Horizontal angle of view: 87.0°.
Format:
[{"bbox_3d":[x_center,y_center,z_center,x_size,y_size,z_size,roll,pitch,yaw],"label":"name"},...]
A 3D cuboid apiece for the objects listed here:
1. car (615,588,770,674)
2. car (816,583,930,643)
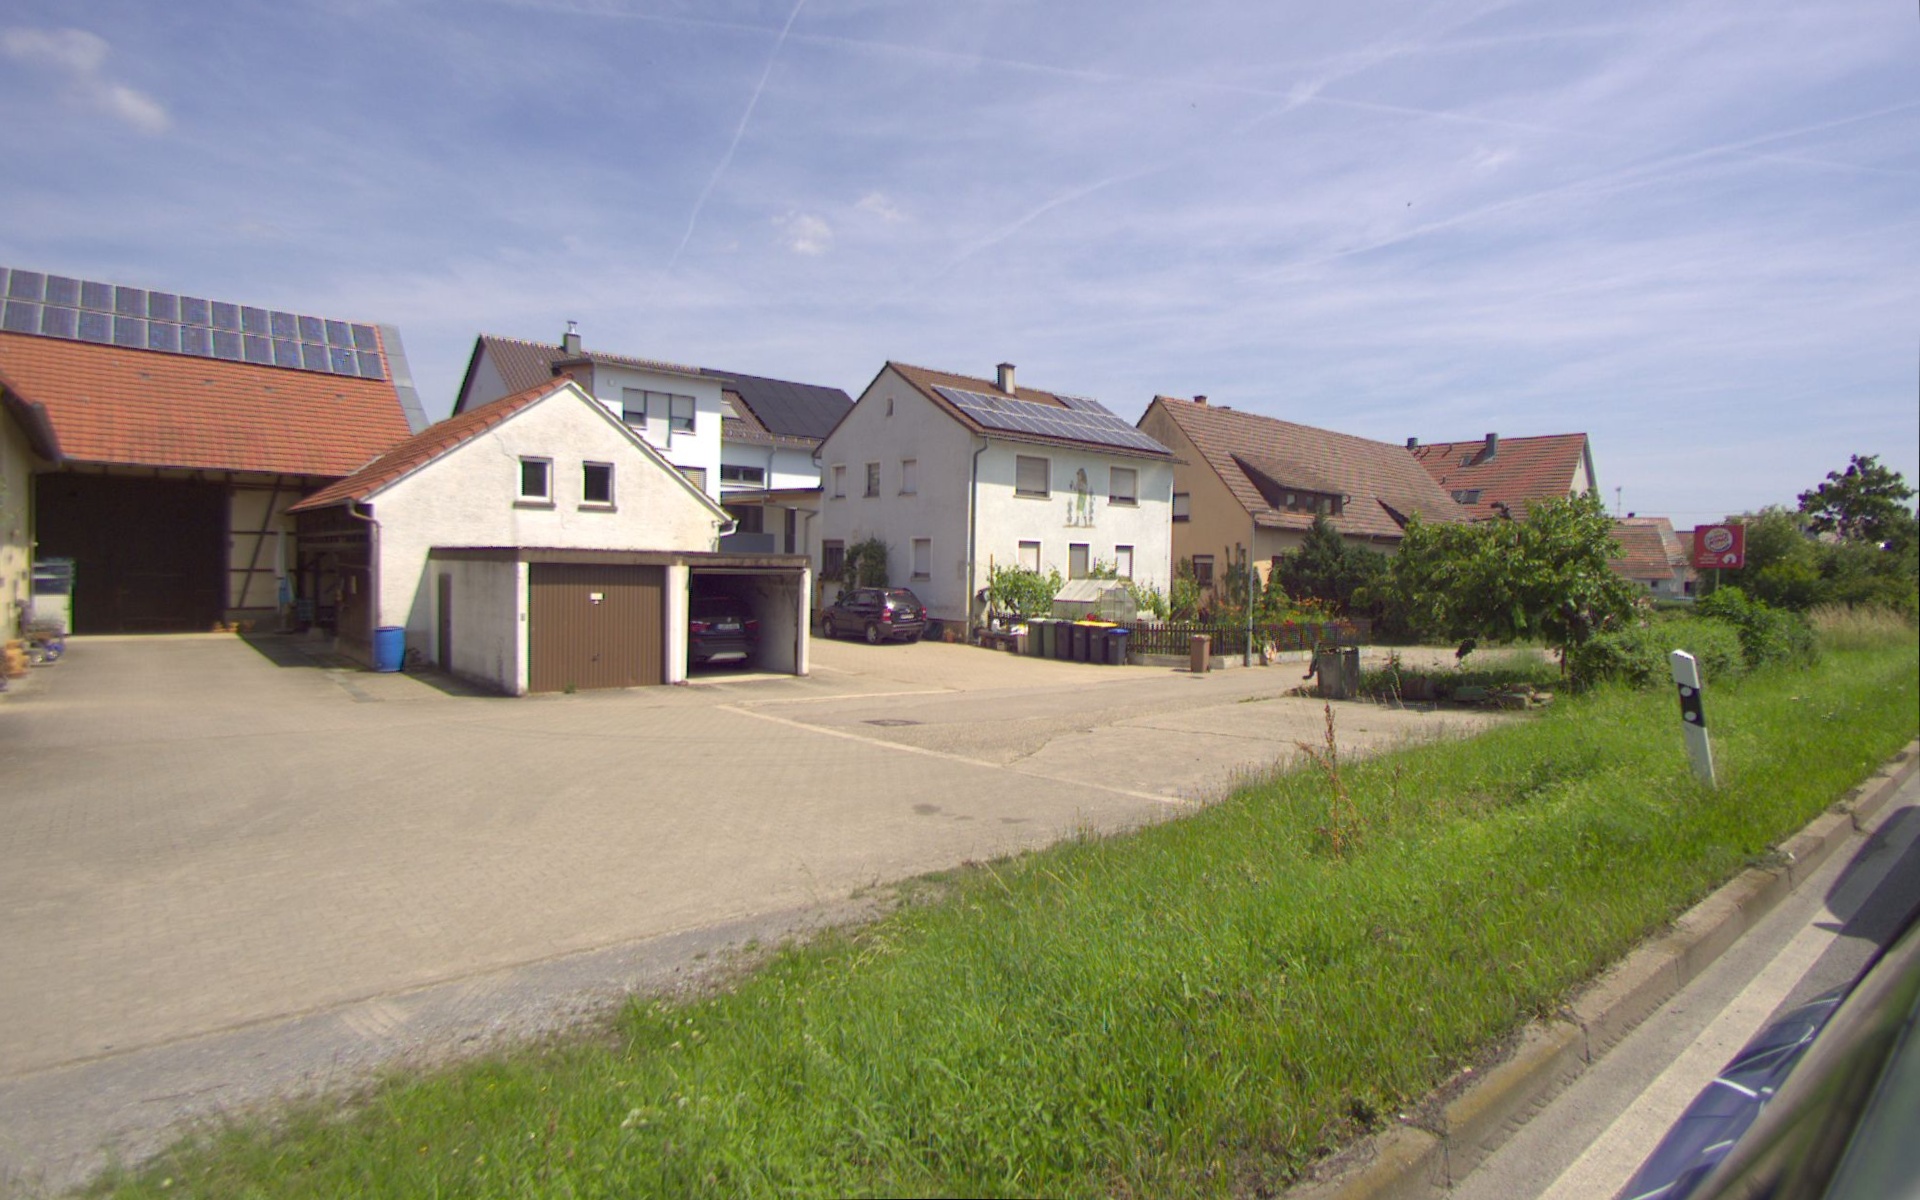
[{"bbox_3d":[-5.946,0.591,22.226,1.802,1.597,3.996,-1,2,-40],"label":"car"},{"bbox_3d":[-2.847,0.352,32.566,1.810,1.714,3.959,-1,3,-38],"label":"car"}]
